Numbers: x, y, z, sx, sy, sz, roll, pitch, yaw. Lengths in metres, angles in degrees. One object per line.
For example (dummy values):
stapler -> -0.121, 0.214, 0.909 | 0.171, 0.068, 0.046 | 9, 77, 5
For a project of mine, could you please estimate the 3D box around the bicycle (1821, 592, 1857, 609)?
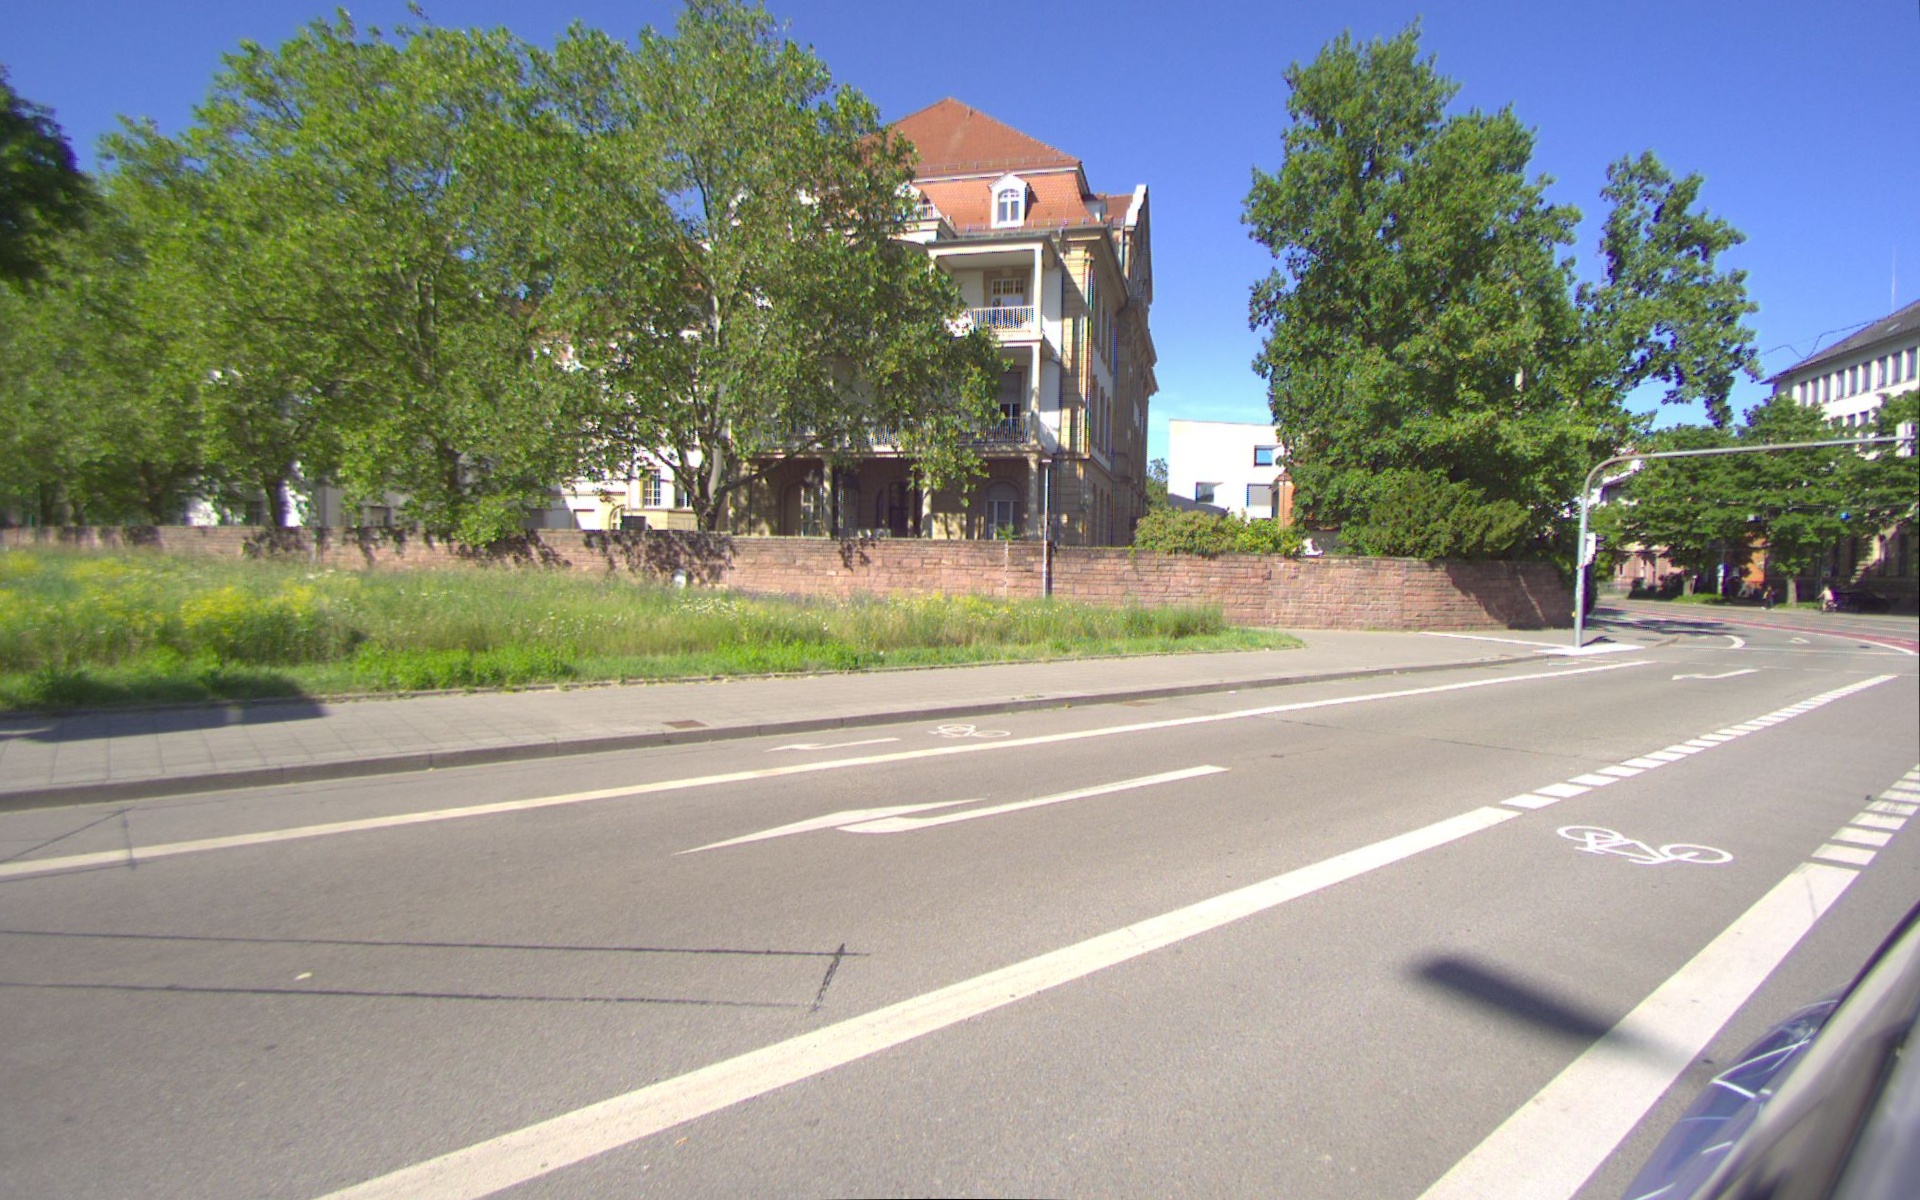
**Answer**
bicycle -> 55.913, 0.027, 64.365 | 0.720, 1.003, 1.834 | 1, 2, 3

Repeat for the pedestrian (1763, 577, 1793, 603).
pedestrian -> 59.370, -0.752, 73.449 | 1.366, 1.844, 0.937 | 1, 1, 4

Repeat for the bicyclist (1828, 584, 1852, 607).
bicyclist -> 55.919, -0.277, 64.322 | 0.720, 1.402, 0.895 | 1, 2, 3

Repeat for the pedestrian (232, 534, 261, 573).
pedestrian -> -26.811, -1.734, 38.020 | 0.516, 1.461, 0.721 | 0, 0, 20

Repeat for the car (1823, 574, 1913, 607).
car -> 61.206, -0.649, 68.256 | 4.615, 2.038, 2.004 | 1, 2, -9
